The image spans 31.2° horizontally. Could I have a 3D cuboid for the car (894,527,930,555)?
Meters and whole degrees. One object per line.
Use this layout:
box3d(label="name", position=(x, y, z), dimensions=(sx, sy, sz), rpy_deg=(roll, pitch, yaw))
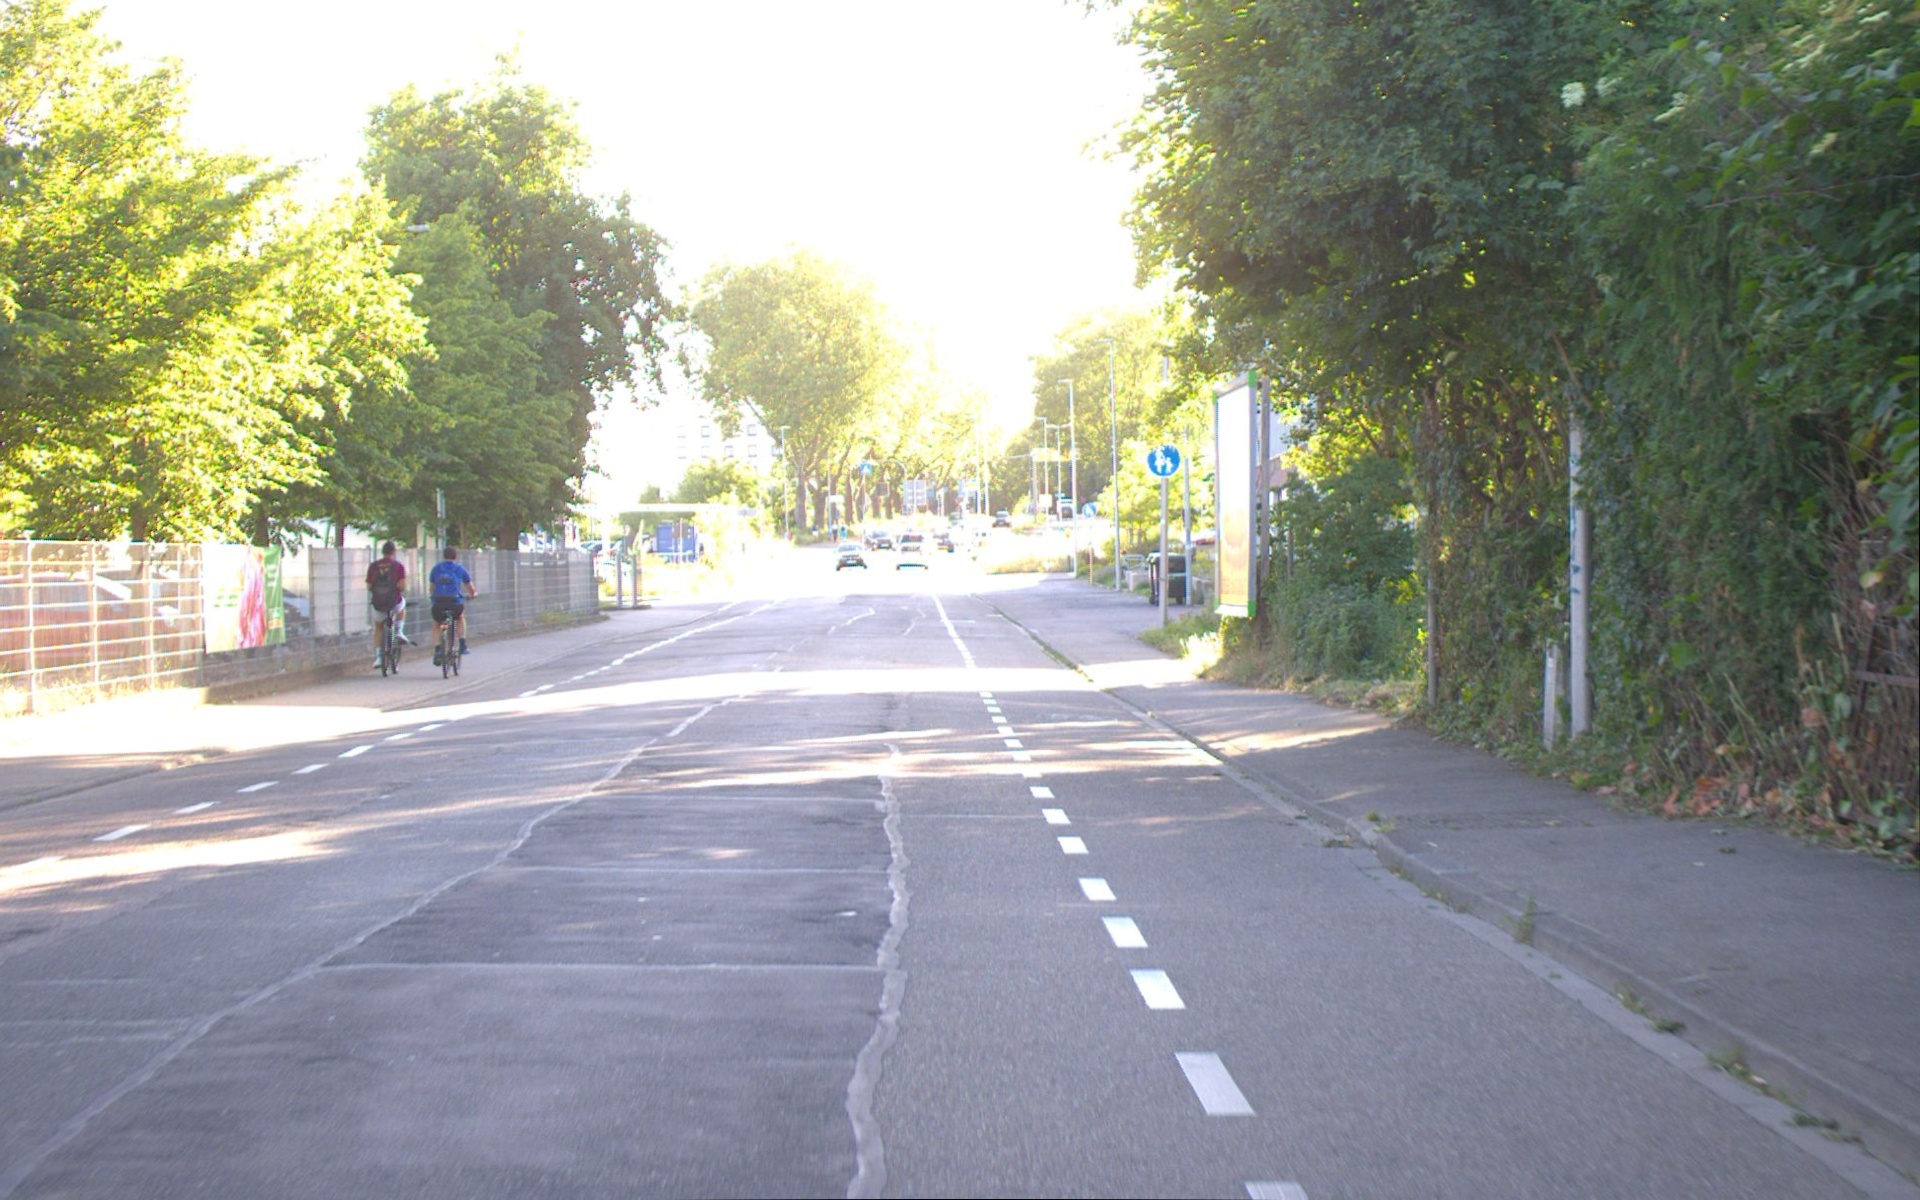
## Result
box3d(label="car", position=(-2.576, -3.180, 185.655), dimensions=(1.790, 1.415, 4.000), rpy_deg=(0, 2, 1))

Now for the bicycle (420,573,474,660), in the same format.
box3d(label="bicycle", position=(-7.120, 0.215, 47.769), dimensions=(0.446, 1.144, 2.201), rpy_deg=(0, 1, -1))

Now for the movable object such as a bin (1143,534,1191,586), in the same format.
box3d(label="movable object such as a bin", position=(5.476, -1.055, 90.938), dimensions=(1.128, 1.331, 1.345), rpy_deg=(-1, 1, -1))

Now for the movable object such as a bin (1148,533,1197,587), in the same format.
box3d(label="movable object such as a bin", position=(5.504, -1.032, 89.240), dimensions=(1.128, 1.367, 1.345), rpy_deg=(-1, 1, -1))

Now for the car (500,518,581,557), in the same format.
box3d(label="car", position=(-27.837, -4.156, 228.354), dimensions=(5.096, 2.451, 2.320), rpy_deg=(-1, 1, -1))

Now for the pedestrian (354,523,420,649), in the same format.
box3d(label="pedestrian", position=(-7.967, -0.202, 47.846), dimensions=(0.721, 1.715, 1.057), rpy_deg=(-1, 1, -1))

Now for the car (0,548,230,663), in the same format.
box3d(label="car", position=(-12.779, 0.089, 50.409), dimensions=(3.725, 1.446, 1.806), rpy_deg=(-4, 1, -2))

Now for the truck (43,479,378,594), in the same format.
box3d(label="truck", position=(-23.913, -2.019, 110.025), dimensions=(10.097, 3.602, 2.776), rpy_deg=(0, 1, -1))

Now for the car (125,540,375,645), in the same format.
box3d(label="car", position=(-12.128, -0.141, 58.872), dimensions=(3.889, 1.506, 1.786), rpy_deg=(-4, 1, -3))

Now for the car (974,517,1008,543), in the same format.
box3d(label="car", position=(2.114, -4.769, 234.793), dimensions=(2.163, 1.678, 4.001), rpy_deg=(-1, 1, -2))

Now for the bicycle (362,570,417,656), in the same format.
box3d(label="bicycle", position=(-7.921, 0.170, 47.787), dimensions=(0.470, 1.144, 1.869), rpy_deg=(0, 1, -1))

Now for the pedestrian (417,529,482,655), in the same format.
box3d(label="pedestrian", position=(-7.100, -0.121, 47.832), dimensions=(0.721, 1.715, 1.057), rpy_deg=(-1, 1, -1))

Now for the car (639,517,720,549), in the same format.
box3d(label="car", position=(-17.351, -4.140, 212.468), dimensions=(4.845, 1.828, 2.000), rpy_deg=(-1, 1, -1))

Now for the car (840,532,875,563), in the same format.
box3d(label="car", position=(-5.667, -2.927, 189.680), dimensions=(1.740, 1.520, 4.112), rpy_deg=(-5, 2, -1))

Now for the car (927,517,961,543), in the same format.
box3d(label="car", position=(-1.076, -4.660, 229.929), dimensions=(2.163, 1.678, 4.000), rpy_deg=(-1, 1, 1))

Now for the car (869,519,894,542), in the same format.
box3d(label="car", position=(-5.526, -4.910, 242.995), dimensions=(1.654, 1.498, 4.000), rpy_deg=(-2, 1, 0))
